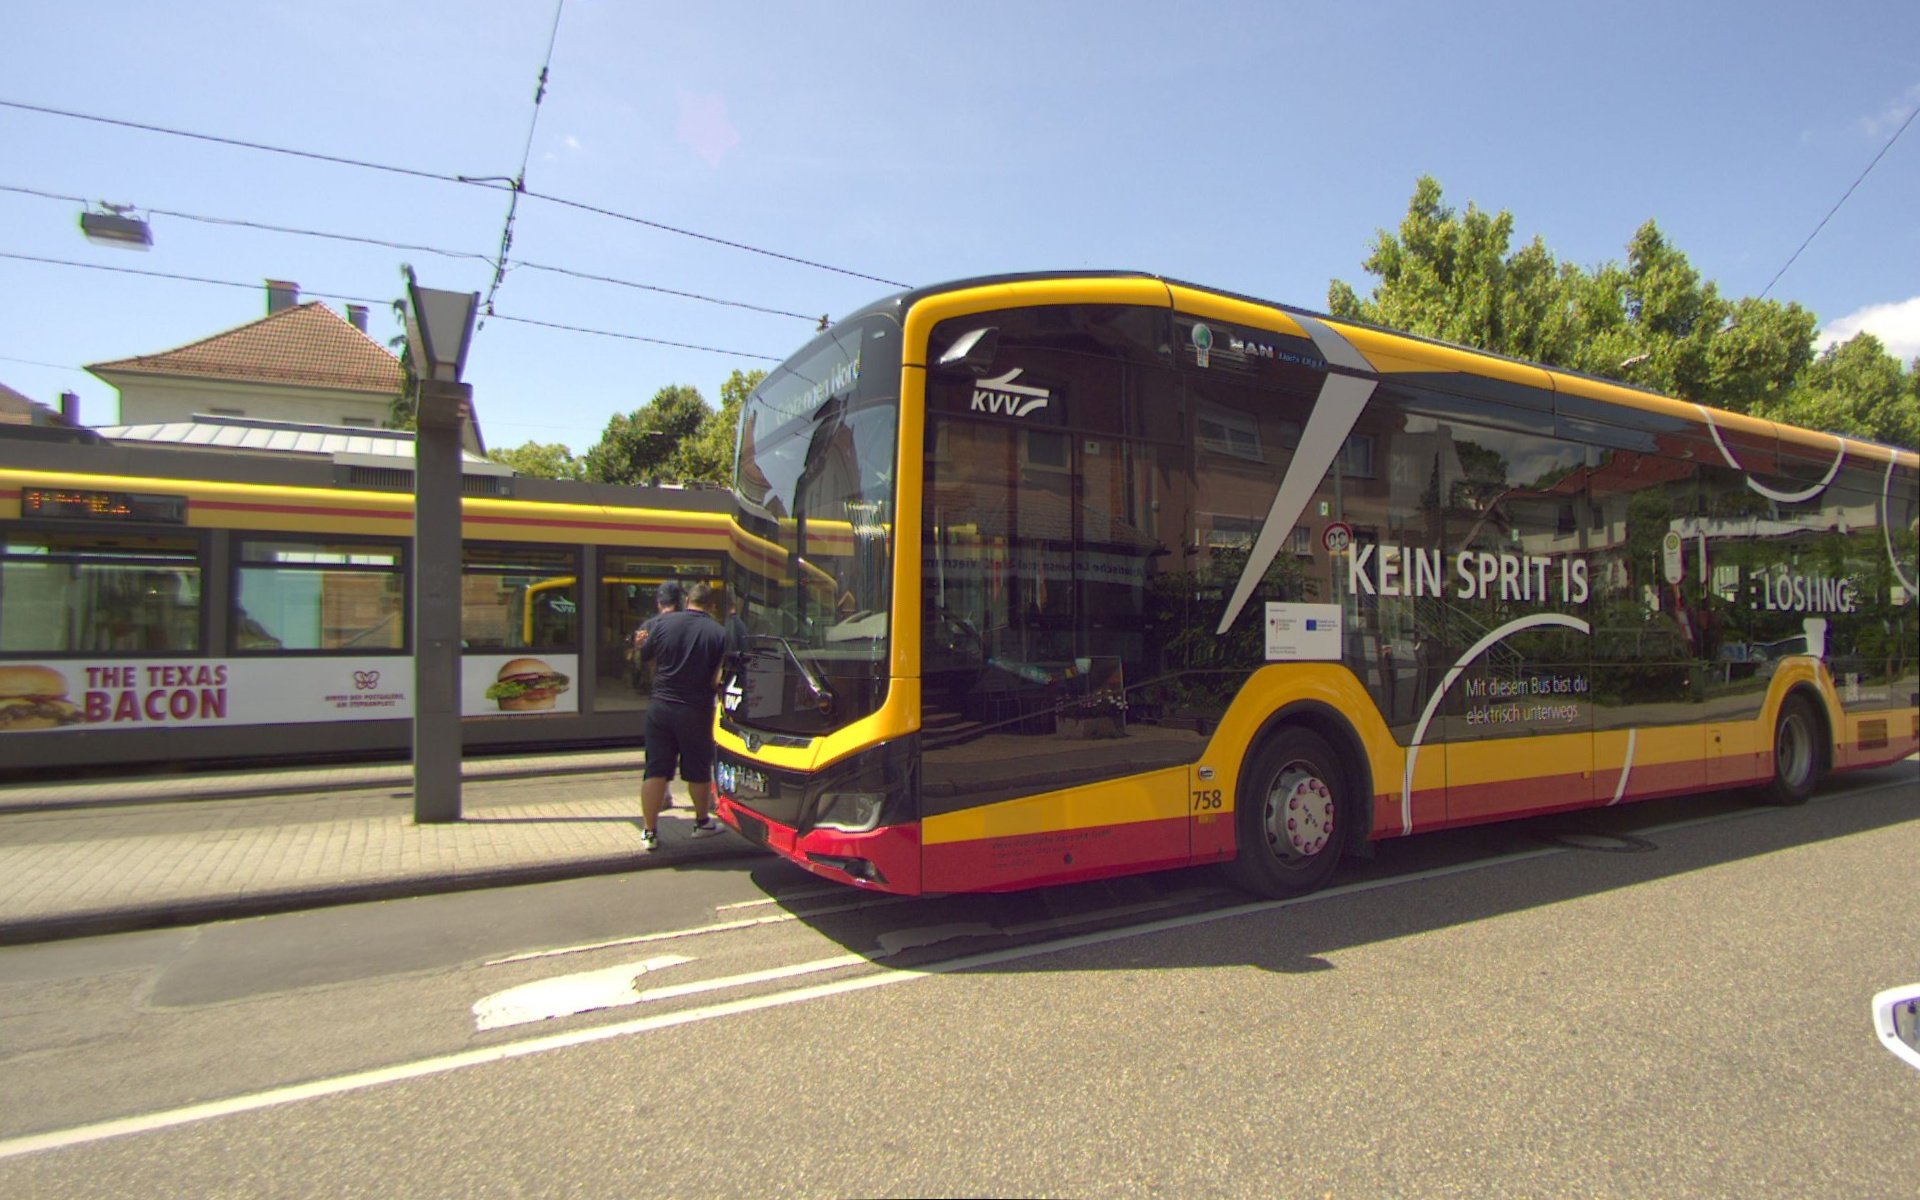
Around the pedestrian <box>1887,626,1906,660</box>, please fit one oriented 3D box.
[{"bbox_3d":[57.932,2.647,62.150,0.672,2.040,0.618,2,0,26],"label":"pedestrian"}]

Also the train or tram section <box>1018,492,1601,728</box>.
[{"bbox_3d":[7.767,0.292,20.485,13.829,3.691,2.949,1,0,-30],"label":"train or tram section"}]

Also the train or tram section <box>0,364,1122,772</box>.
[{"bbox_3d":[-5.620,-0.203,12.601,17.148,3.691,2.949,1,0,-30],"label":"train or tram section"}]

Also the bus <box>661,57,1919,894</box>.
[{"bbox_3d":[4.040,-0.275,8.219,12.052,3.290,2.884,2,-1,-30],"label":"bus"}]

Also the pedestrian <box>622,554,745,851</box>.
[{"bbox_3d":[-1.757,0.626,6.397,0.582,1.800,0.386,2,0,18],"label":"pedestrian"}]

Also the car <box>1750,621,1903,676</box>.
[{"bbox_3d":[24.912,1.366,28.986,3.239,1.391,1.462,1,-1,41],"label":"car"}]

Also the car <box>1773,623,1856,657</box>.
[{"bbox_3d":[36.646,1.725,43.060,3.958,1.336,1.704,3,-1,-34],"label":"car"}]

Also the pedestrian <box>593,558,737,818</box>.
[{"bbox_3d":[-2.159,0.613,7.397,0.767,1.800,0.574,2,0,18],"label":"pedestrian"}]
